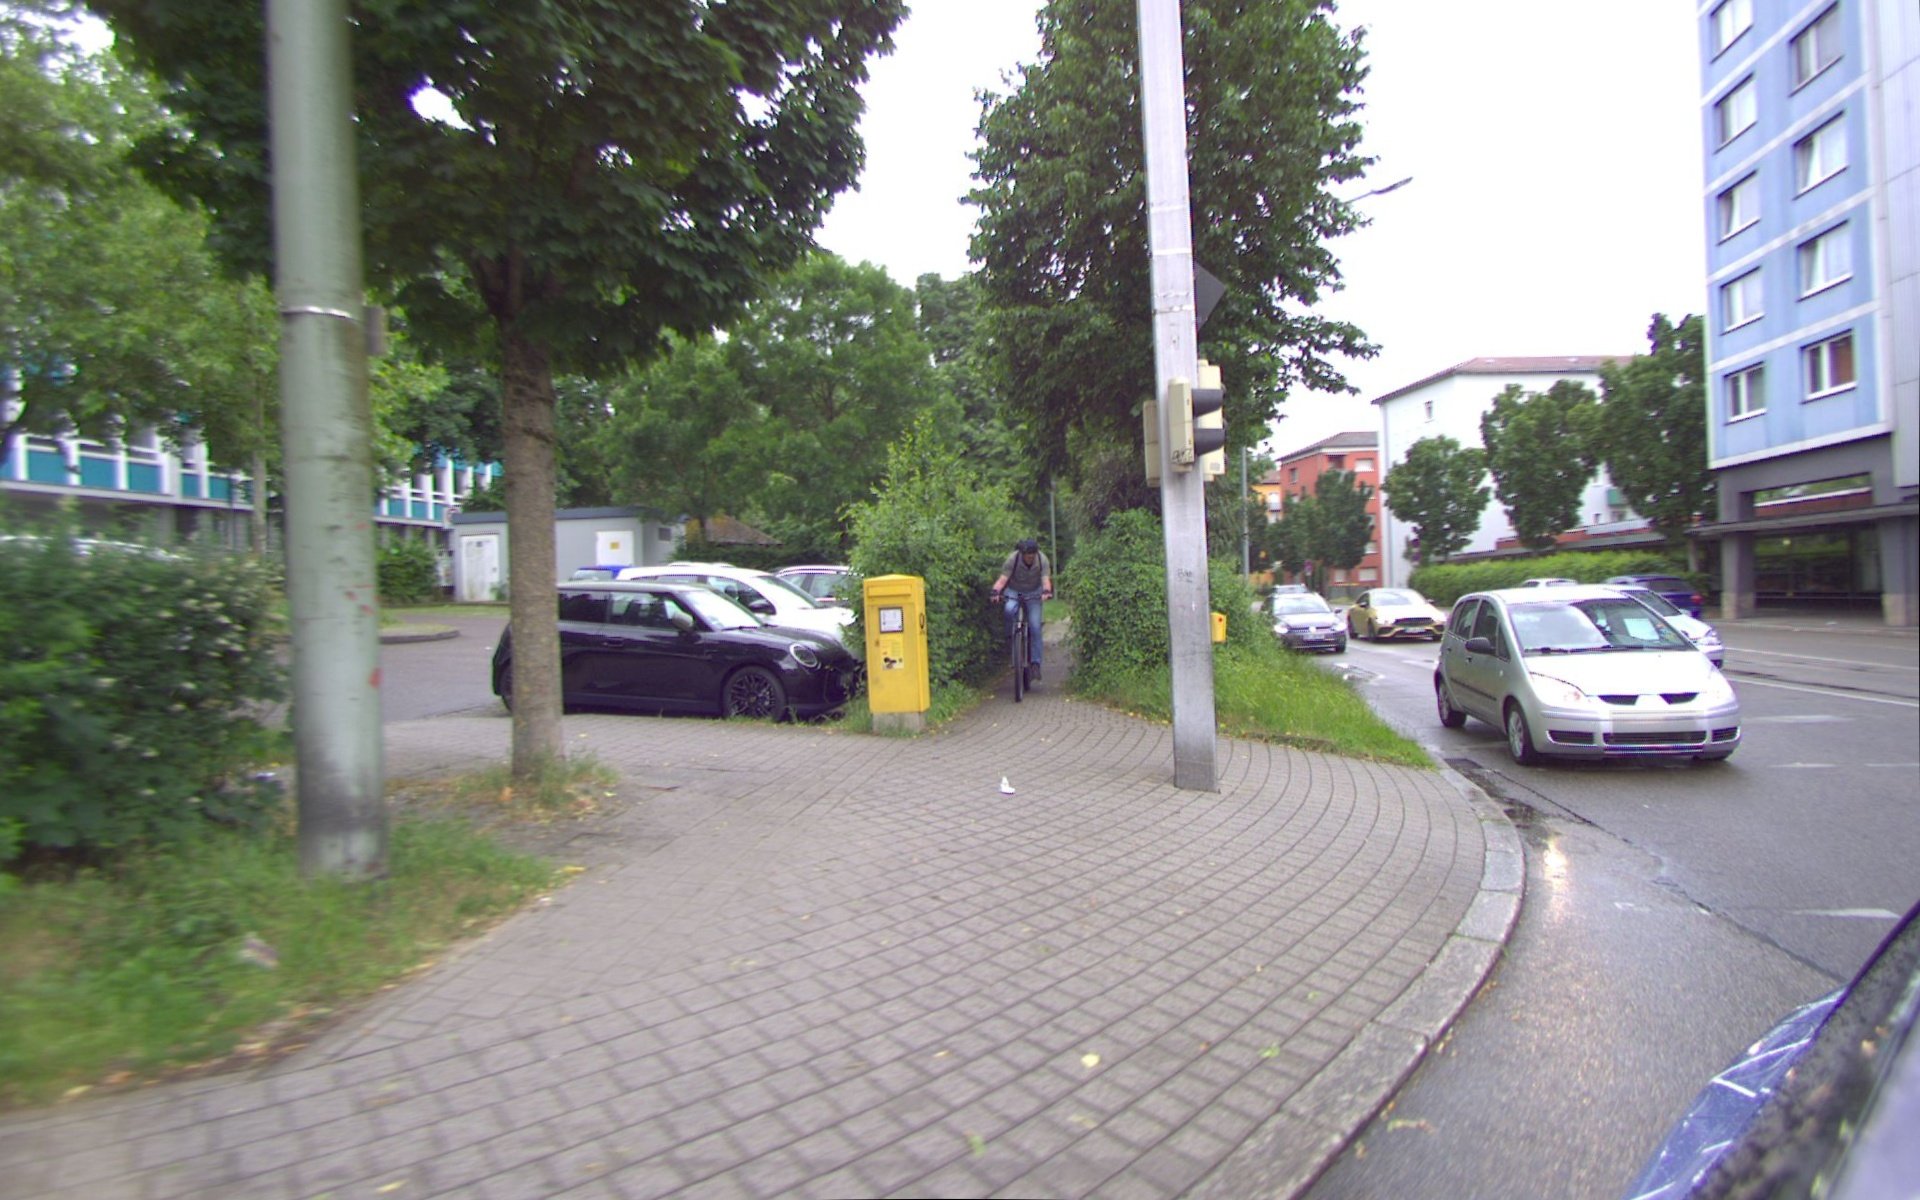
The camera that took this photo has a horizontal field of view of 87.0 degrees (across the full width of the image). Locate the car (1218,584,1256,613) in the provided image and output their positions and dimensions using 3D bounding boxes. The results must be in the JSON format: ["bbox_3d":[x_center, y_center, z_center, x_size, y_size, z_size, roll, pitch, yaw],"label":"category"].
[{"bbox_3d":[19.637,-0.163,71.844,1.960,1.728,4.569,-7,0,10],"label":"car"}]

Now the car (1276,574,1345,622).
[{"bbox_3d":[15.258,-0.138,44.312,1.960,1.728,4.569,-7,0,10],"label":"car"}]

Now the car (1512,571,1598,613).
[{"bbox_3d":[22.934,-0.348,39.160,1.624,1.538,3.708,1,1,10],"label":"car"}]

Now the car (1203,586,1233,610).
[{"bbox_3d":[22.281,-0.207,87.526,1.960,1.728,4.569,-7,0,10],"label":"car"}]

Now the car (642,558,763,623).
[{"bbox_3d":[-6.816,-0.296,27.243,1.770,1.630,3.991,0,1,9],"label":"car"}]

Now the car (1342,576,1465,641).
[{"bbox_3d":[12.163,0.170,28.106,1.959,1.459,4.569,-6,1,10],"label":"car"}]

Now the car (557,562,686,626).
[{"bbox_3d":[-9.263,-0.209,28.057,1.770,1.630,3.991,0,1,9],"label":"car"}]

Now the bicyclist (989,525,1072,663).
[{"bbox_3d":[0.829,-0.067,11.673,0.874,1.508,0.966,0,0,10],"label":"bicyclist"}]

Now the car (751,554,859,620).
[{"bbox_3d":[-4.075,-0.388,27.181,1.770,1.630,3.991,0,1,9],"label":"car"}]

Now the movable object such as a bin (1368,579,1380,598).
[{"bbox_3d":[32.289,-0.891,78.987,0.780,1.520,0.810,0,0,29],"label":"movable object such as a bin"}]

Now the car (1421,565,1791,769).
[{"bbox_3d":[6.010,0.527,10.011,1.661,1.523,3.826,-5,0,11],"label":"car"}]

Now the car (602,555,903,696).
[{"bbox_3d":[-2.729,0.290,13.568,3.646,1.718,1.631,0,0,14],"label":"car"}]

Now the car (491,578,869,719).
[{"bbox_3d":[-2.956,0.461,11.014,3.641,1.382,1.633,0,0,9],"label":"car"}]

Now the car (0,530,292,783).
[{"bbox_3d":[-6.963,0.339,6.997,1.609,1.642,4.205,2,1,6],"label":"car"}]

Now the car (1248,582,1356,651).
[{"bbox_3d":[8.646,0.392,25.962,1.659,1.524,4.493,-3,-1,7],"label":"car"}]

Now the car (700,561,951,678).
[{"bbox_3d":[-2.088,0.274,16.082,3.646,1.718,1.631,0,0,14],"label":"car"}]

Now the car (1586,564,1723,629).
[{"bbox_3d":[17.836,-0.106,26.176,1.590,1.554,3.443,-1,1,10],"label":"car"}]

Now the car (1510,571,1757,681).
[{"bbox_3d":[10.147,0.308,15.636,1.660,1.442,4.026,-2,1,10],"label":"car"}]

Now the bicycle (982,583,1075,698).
[{"bbox_3d":[0.834,0.419,11.702,0.874,1.202,2.128,0,0,9],"label":"bicycle"}]
